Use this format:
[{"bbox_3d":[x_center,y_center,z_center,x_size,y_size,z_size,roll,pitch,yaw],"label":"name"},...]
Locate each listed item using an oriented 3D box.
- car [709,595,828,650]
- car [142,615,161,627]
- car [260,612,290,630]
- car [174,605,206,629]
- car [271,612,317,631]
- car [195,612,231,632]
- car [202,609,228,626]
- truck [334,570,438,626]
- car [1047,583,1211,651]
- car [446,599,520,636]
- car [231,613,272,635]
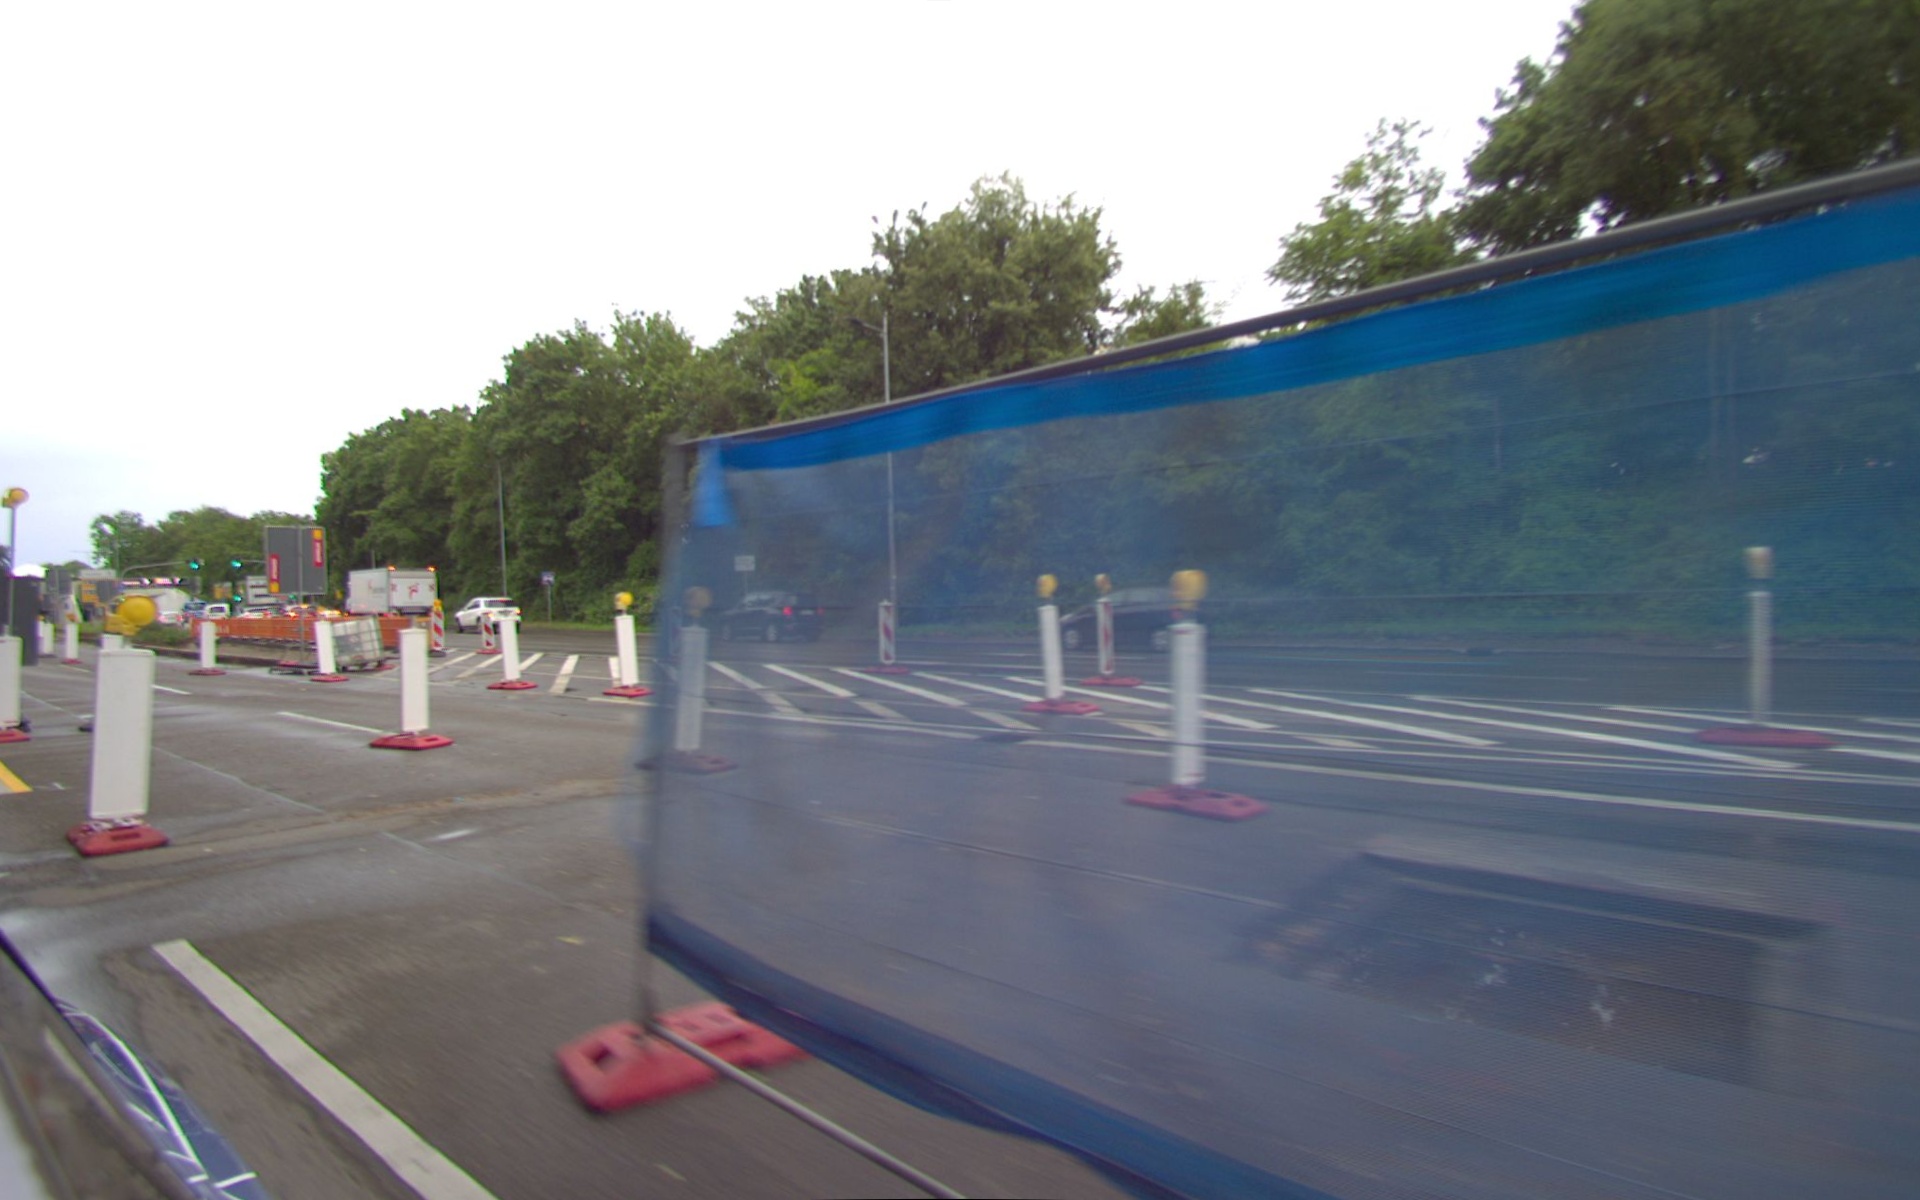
[{"bbox_3d":[-6.298,0.730,33.066,4.198,1.660,1.618,-2,-1,42],"label":"car"},{"bbox_3d":[-94.123,2.415,117.790,1.529,1.209,4.656,-3,2,-37],"label":"car"},{"bbox_3d":[-60.992,1.866,90.133,1.651,1.535,3.794,-3,2,-42],"label":"car"},{"bbox_3d":[-85.198,1.931,111.983,2.169,2.408,6.250,-4,1,-42],"label":"car"},{"bbox_3d":[-43.429,1.385,65.933,4.284,1.161,1.587,-1,1,44],"label":"car"},{"bbox_3d":[-70.848,2.105,95.921,4.834,1.794,1.893,-2,0,44],"label":"car"},{"bbox_3d":[-92.339,2.175,125.449,2.010,1.989,4.995,-4,1,-42],"label":"car"},{"bbox_3d":[-35.276,-0.069,61.974,10.151,3.172,2.764,-1,1,44],"label":"truck"},{"bbox_3d":[3.914,0.408,23.747,3.538,1.468,1.509,-2,-1,42],"label":"car"},{"bbox_3d":[-24.163,0.918,51.218,4.721,1.736,1.823,-2,-3,44],"label":"car"},{"bbox_3d":[-54.216,1.862,77.378,4.041,1.562,1.814,-2,0,44],"label":"car"}]
